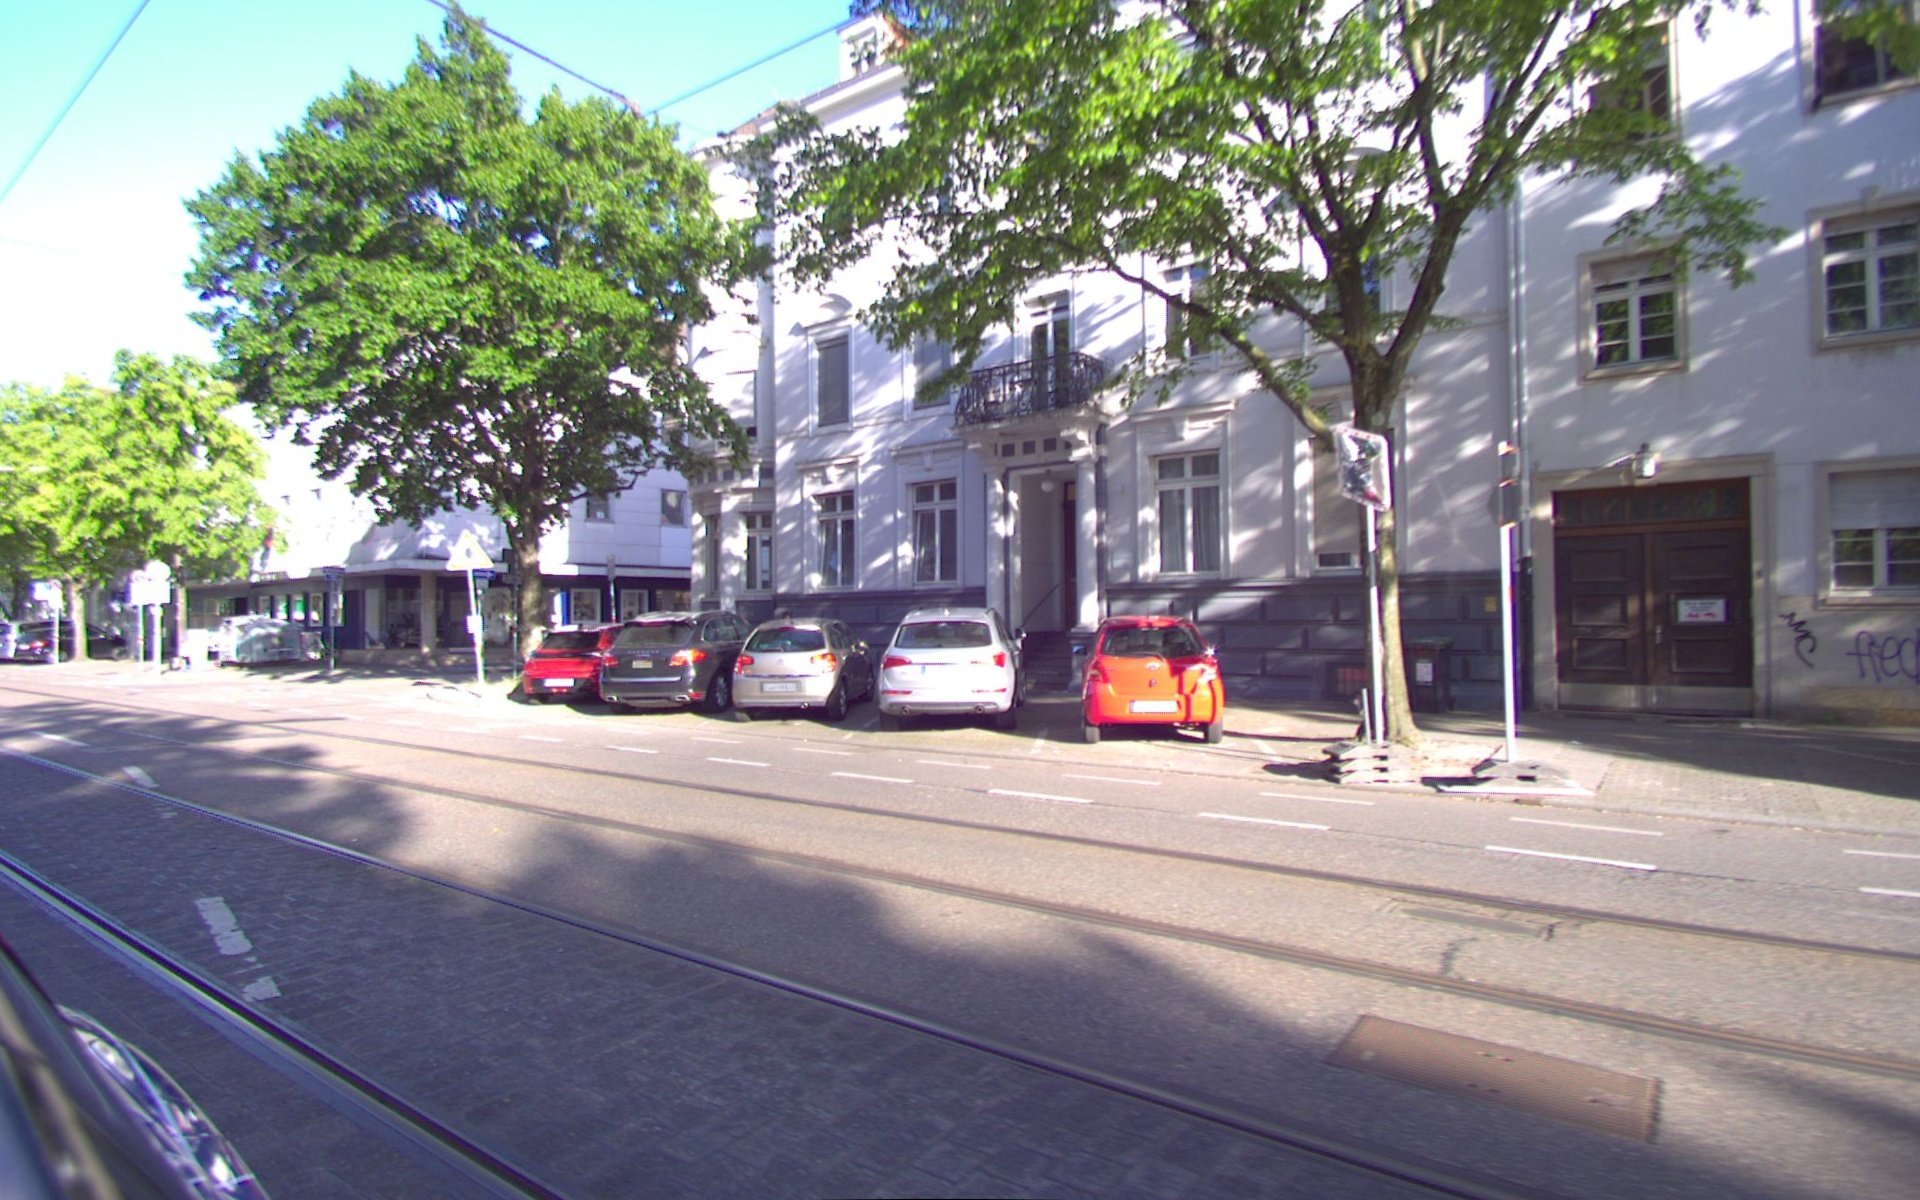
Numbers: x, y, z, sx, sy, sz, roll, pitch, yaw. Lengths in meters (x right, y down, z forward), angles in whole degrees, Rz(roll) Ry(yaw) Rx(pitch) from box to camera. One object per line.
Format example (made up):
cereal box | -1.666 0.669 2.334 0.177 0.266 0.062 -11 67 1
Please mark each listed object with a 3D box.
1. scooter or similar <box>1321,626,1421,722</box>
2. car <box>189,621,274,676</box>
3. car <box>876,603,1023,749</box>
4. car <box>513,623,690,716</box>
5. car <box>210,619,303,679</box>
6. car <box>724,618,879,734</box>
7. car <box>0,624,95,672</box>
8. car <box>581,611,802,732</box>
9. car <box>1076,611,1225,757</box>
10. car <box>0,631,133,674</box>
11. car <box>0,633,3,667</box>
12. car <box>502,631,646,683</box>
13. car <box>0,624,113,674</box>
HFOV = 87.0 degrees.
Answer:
scooter or similar | 6.052 1.071 14.947 1.285 1.368 0.396 -3 -3 42
car | -26.501 1.750 36.803 3.209 1.912 1.652 -2 -2 37
car | -0.007 0.978 14.874 1.762 1.737 4.195 -1 1 5
car | -6.836 1.274 19.769 1.759 1.497 3.994 -1 0 5
car | -23.793 1.630 34.203 3.209 1.912 1.652 -2 -2 37
car | -2.440 1.130 16.481 1.726 1.531 3.762 -1 1 3
car | -43.094 2.217 46.888 1.667 1.965 4.263 -2 1 31
car | -4.550 1.144 17.895 1.930 1.727 4.341 -1 1 14
car | 2.432 0.982 13.543 1.621 1.569 4.191 -1 0 8
car | -38.748 2.241 43.934 1.667 1.581 4.059 -2 1 31
car | -52.713 2.730 52.553 1.667 1.791 4.059 -2 1 31
car | -12.133 1.751 32.024 1.778 1.497 3.951 -2 -2 36
car | -40.834 2.168 45.223 1.667 1.965 4.263 -2 1 31
